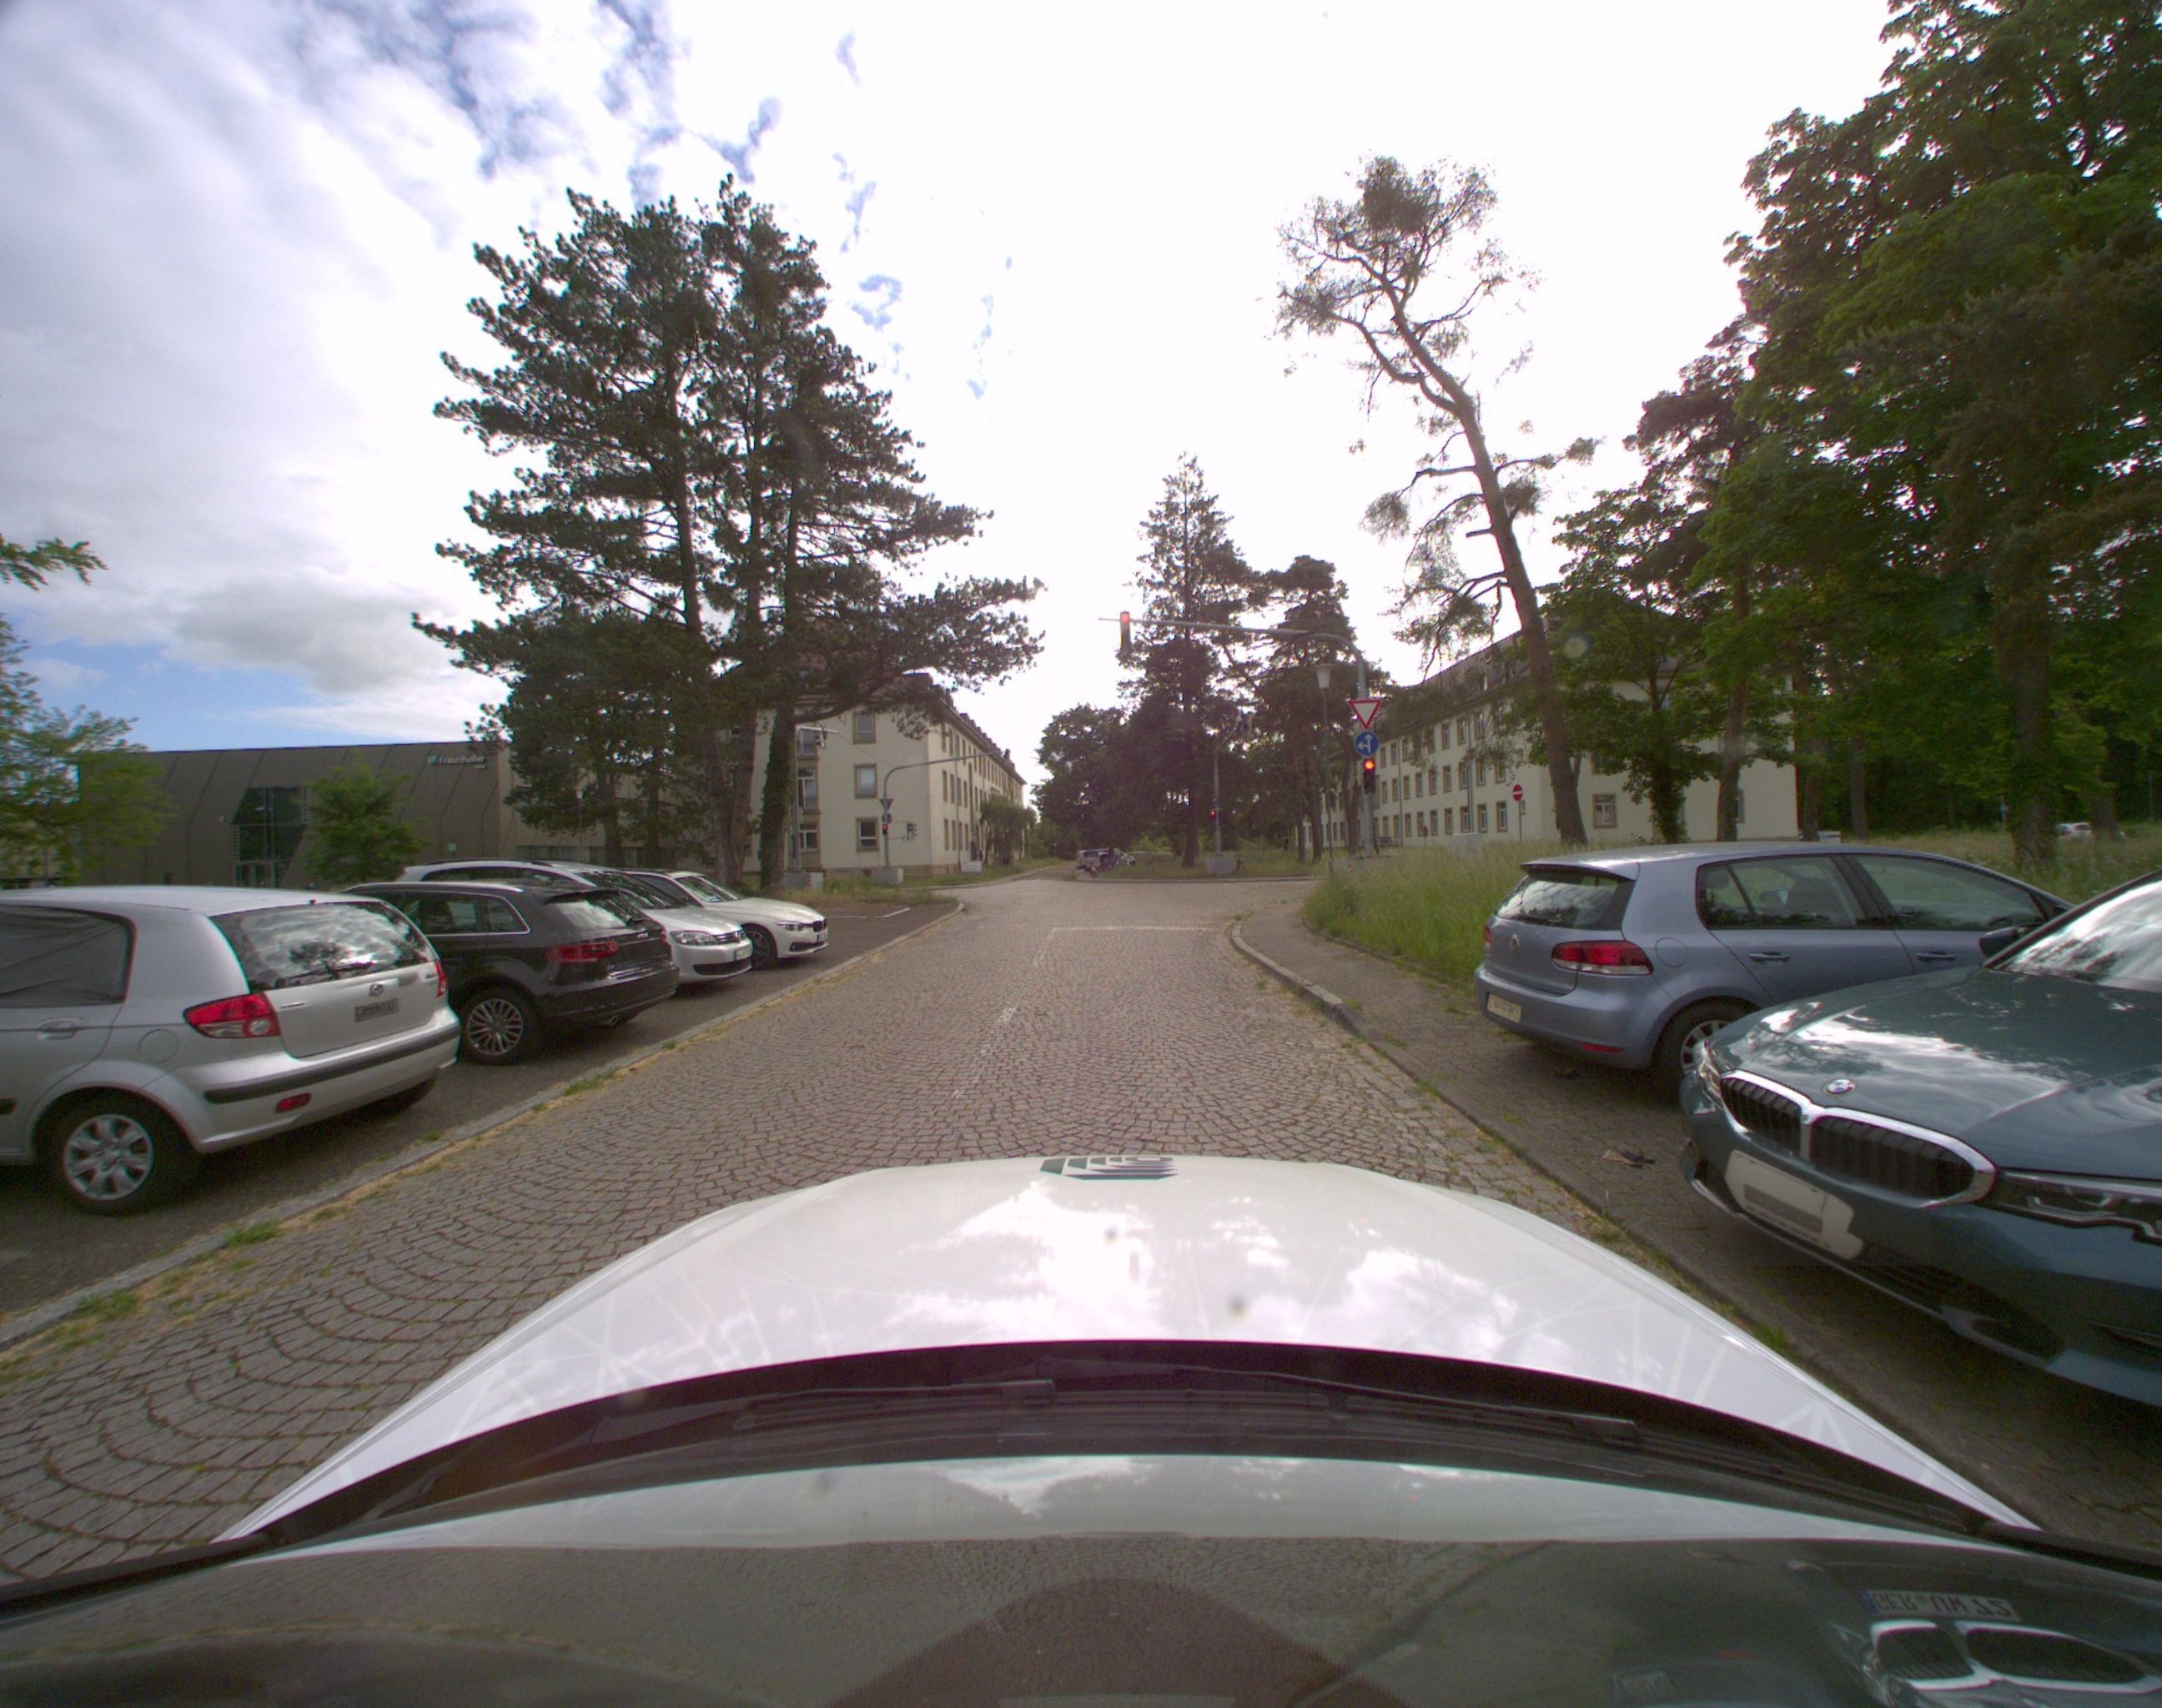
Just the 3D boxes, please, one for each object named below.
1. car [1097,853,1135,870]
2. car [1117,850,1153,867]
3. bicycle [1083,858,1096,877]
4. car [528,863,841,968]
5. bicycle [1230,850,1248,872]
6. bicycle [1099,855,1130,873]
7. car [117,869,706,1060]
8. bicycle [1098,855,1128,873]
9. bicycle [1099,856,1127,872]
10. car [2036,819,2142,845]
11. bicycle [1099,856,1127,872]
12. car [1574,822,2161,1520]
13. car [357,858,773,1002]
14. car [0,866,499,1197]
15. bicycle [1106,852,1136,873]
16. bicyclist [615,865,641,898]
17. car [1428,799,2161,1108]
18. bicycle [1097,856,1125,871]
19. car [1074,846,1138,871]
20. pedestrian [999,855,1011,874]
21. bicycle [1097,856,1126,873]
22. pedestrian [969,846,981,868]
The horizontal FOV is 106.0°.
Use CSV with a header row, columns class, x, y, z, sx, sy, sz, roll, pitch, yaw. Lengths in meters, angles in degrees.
class,x,y,z,sx,sy,sz,roll,pitch,yaw
car,2.913,0.641,68.821,3.001,1.268,1.532,-2,0,-5
car,5.011,0.406,76.060,3.223,1.416,1.724,-2,0,-2
bicycle,0.548,0.823,50.933,0.602,1.132,1.958,-2,0,-4
car,-5.904,0.887,12.450,3.934,1.421,1.650,1,0,0
bicycle,8.132,0.352,41.948,0.584,1.106,1.962,-2,0,1
bicycle,2.213,0.667,54.115,1.952,1.132,0.587,-2,0,-6
car,-5.543,0.882,7.123,3.736,1.428,1.581,1,0,-2
bicycle,2.164,0.691,54.749,1.952,1.117,0.587,-2,0,-6
bicycle,2.268,0.712,57.582,1.967,1.069,0.582,-2,0,-29
car,58.329,-1.248,47.164,3.930,1.421,1.652,1,0,3
bicycle,2.321,0.695,58.936,1.964,1.069,0.583,-2,0,-24
car,4.592,0.591,2.786,4.668,1.416,1.870,-4,0,-2
car,-6.047,0.858,9.914,3.937,1.563,1.649,1,0,-2
car,-5.695,0.833,4.527,3.693,1.479,1.581,1,0,-2
bicycle,2.717,0.592,55.575,1.952,1.384,0.587,-2,0,-6
bicyclist,-19.985,1.191,35.936,0.746,1.410,0.605,-2,0,1
car,4.565,0.531,5.239,3.911,1.477,1.643,-4,0,2
bicycle,2.264,0.696,61.269,1.964,1.069,0.583,-2,0,-24
car,2.204,0.386,72.205,5.358,1.925,2.019,-3,0,-8
pedestrian,-6.441,0.905,69.176,0.768,1.618,0.743,-2,0,12
bicycle,2.089,0.716,56.233,1.967,1.069,0.582,-2,0,-29
pedestrian,-9.119,0.239,69.963,0.779,1.837,0.734,-2,0,-30
